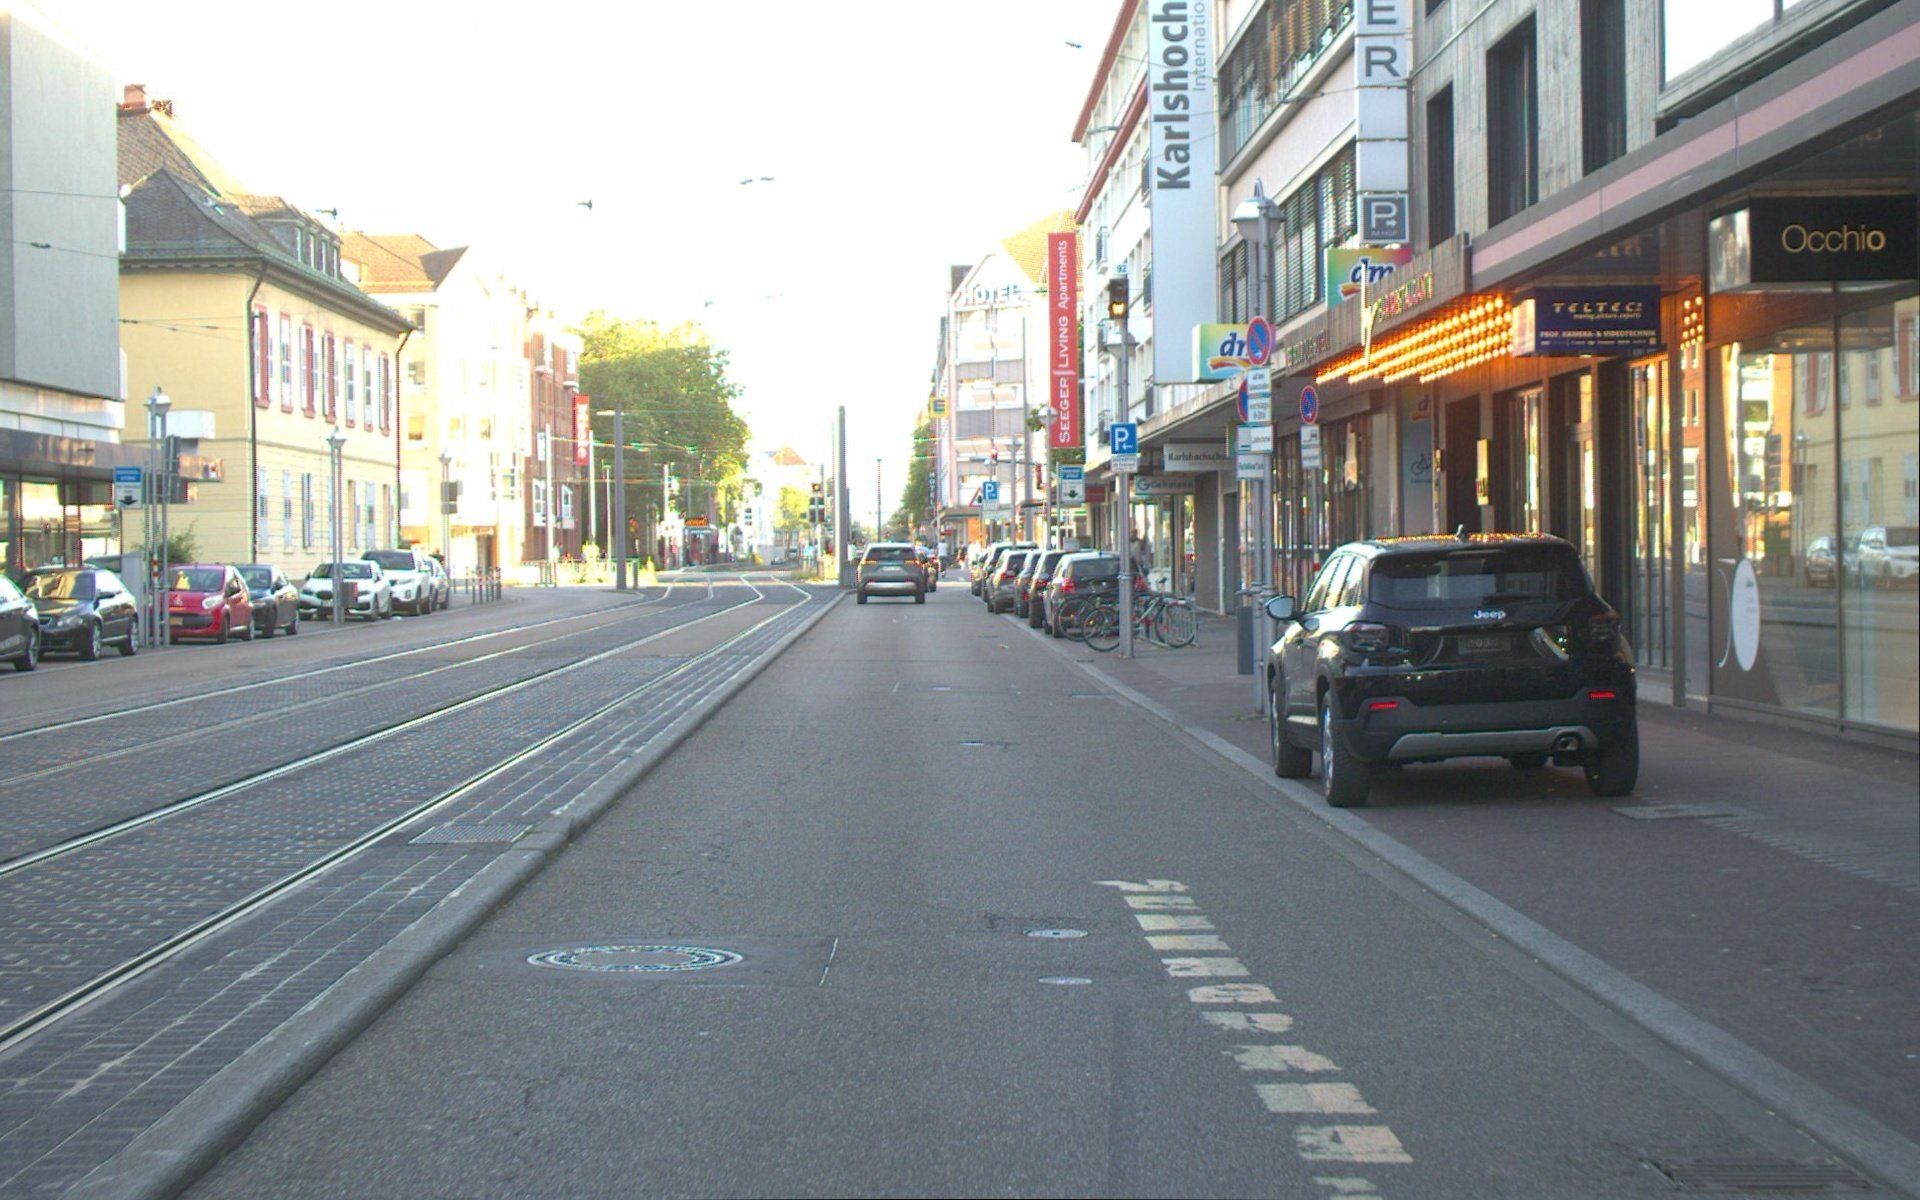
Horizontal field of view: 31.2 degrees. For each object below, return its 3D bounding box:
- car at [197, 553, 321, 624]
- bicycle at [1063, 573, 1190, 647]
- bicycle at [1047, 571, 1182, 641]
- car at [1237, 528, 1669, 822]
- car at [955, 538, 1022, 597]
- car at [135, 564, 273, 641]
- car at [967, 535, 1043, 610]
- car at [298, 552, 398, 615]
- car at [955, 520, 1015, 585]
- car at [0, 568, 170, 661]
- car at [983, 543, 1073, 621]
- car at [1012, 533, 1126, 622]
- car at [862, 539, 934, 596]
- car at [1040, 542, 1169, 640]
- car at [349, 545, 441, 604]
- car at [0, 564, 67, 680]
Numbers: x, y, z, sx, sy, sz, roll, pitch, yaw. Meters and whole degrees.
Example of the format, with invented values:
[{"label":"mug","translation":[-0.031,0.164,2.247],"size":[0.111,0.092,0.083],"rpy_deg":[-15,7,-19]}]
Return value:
[{"label":"car","translation":[-14.178,-0.251,69.745],"size":[1.790,1.334,3.892],"rpy_deg":[2,1,-2]},{"label":"bicycle","translation":[2.504,0.147,51.831],"size":[1.868,1.087,0.545],"rpy_deg":[-1,1,-1]},{"label":"bicycle","translation":[2.487,0.095,55.583],"size":[2.118,1.087,0.592],"rpy_deg":[-1,1,-3]},{"label":"car","translation":[2.910,0.378,21.287],"size":[1.944,1.539,4.545],"rpy_deg":[-3,1,0]},{"label":"car","translation":[0.869,-1.038,107.429],"size":[1.944,1.697,4.545],"rpy_deg":[-3,1,0]},{"label":"car","translation":[-14.059,0.024,64.136],"size":[1.790,1.334,3.892],"rpy_deg":[2,1,-2]},{"label":"car","translation":[1.232,-0.777,95.734],"size":[1.944,1.958,4.545],"rpy_deg":[-3,1,0]},{"label":"car","translation":[-14.696,-0.413,82.743],"size":[1.790,1.444,3.892],"rpy_deg":[2,1,-2]},{"label":"car","translation":[0.857,-1.645,119.272],"size":[1.944,2.138,4.545],"rpy_deg":[-3,1,0]},{"label":"car","translation":[-13.694,0.206,53.883],"size":[1.790,1.334,3.892],"rpy_deg":[2,1,-2]},{"label":"car","translation":[1.568,-0.454,80.791],"size":[1.944,1.697,4.545],"rpy_deg":[-3,1,0]},{"label":"car","translation":[2.039,-0.450,65.298],"size":[1.944,1.539,4.545],"rpy_deg":[-3,1,0]},{"label":"car","translation":[-1.701,-0.930,95.511],"size":[1.944,1.539,4.545],"rpy_deg":[0,1,0]},{"label":"car","translation":[2.441,-0.185,59.174],"size":[1.944,1.539,4.545],"rpy_deg":[-3,1,0]},{"label":"car","translation":[-14.561,-0.678,88.769],"size":[1.790,1.444,3.892],"rpy_deg":[2,1,-2]},{"label":"car","translation":[-13.880,0.265,47.585],"size":[1.917,1.516,4.630],"rpy_deg":[2,1,-2]}]
